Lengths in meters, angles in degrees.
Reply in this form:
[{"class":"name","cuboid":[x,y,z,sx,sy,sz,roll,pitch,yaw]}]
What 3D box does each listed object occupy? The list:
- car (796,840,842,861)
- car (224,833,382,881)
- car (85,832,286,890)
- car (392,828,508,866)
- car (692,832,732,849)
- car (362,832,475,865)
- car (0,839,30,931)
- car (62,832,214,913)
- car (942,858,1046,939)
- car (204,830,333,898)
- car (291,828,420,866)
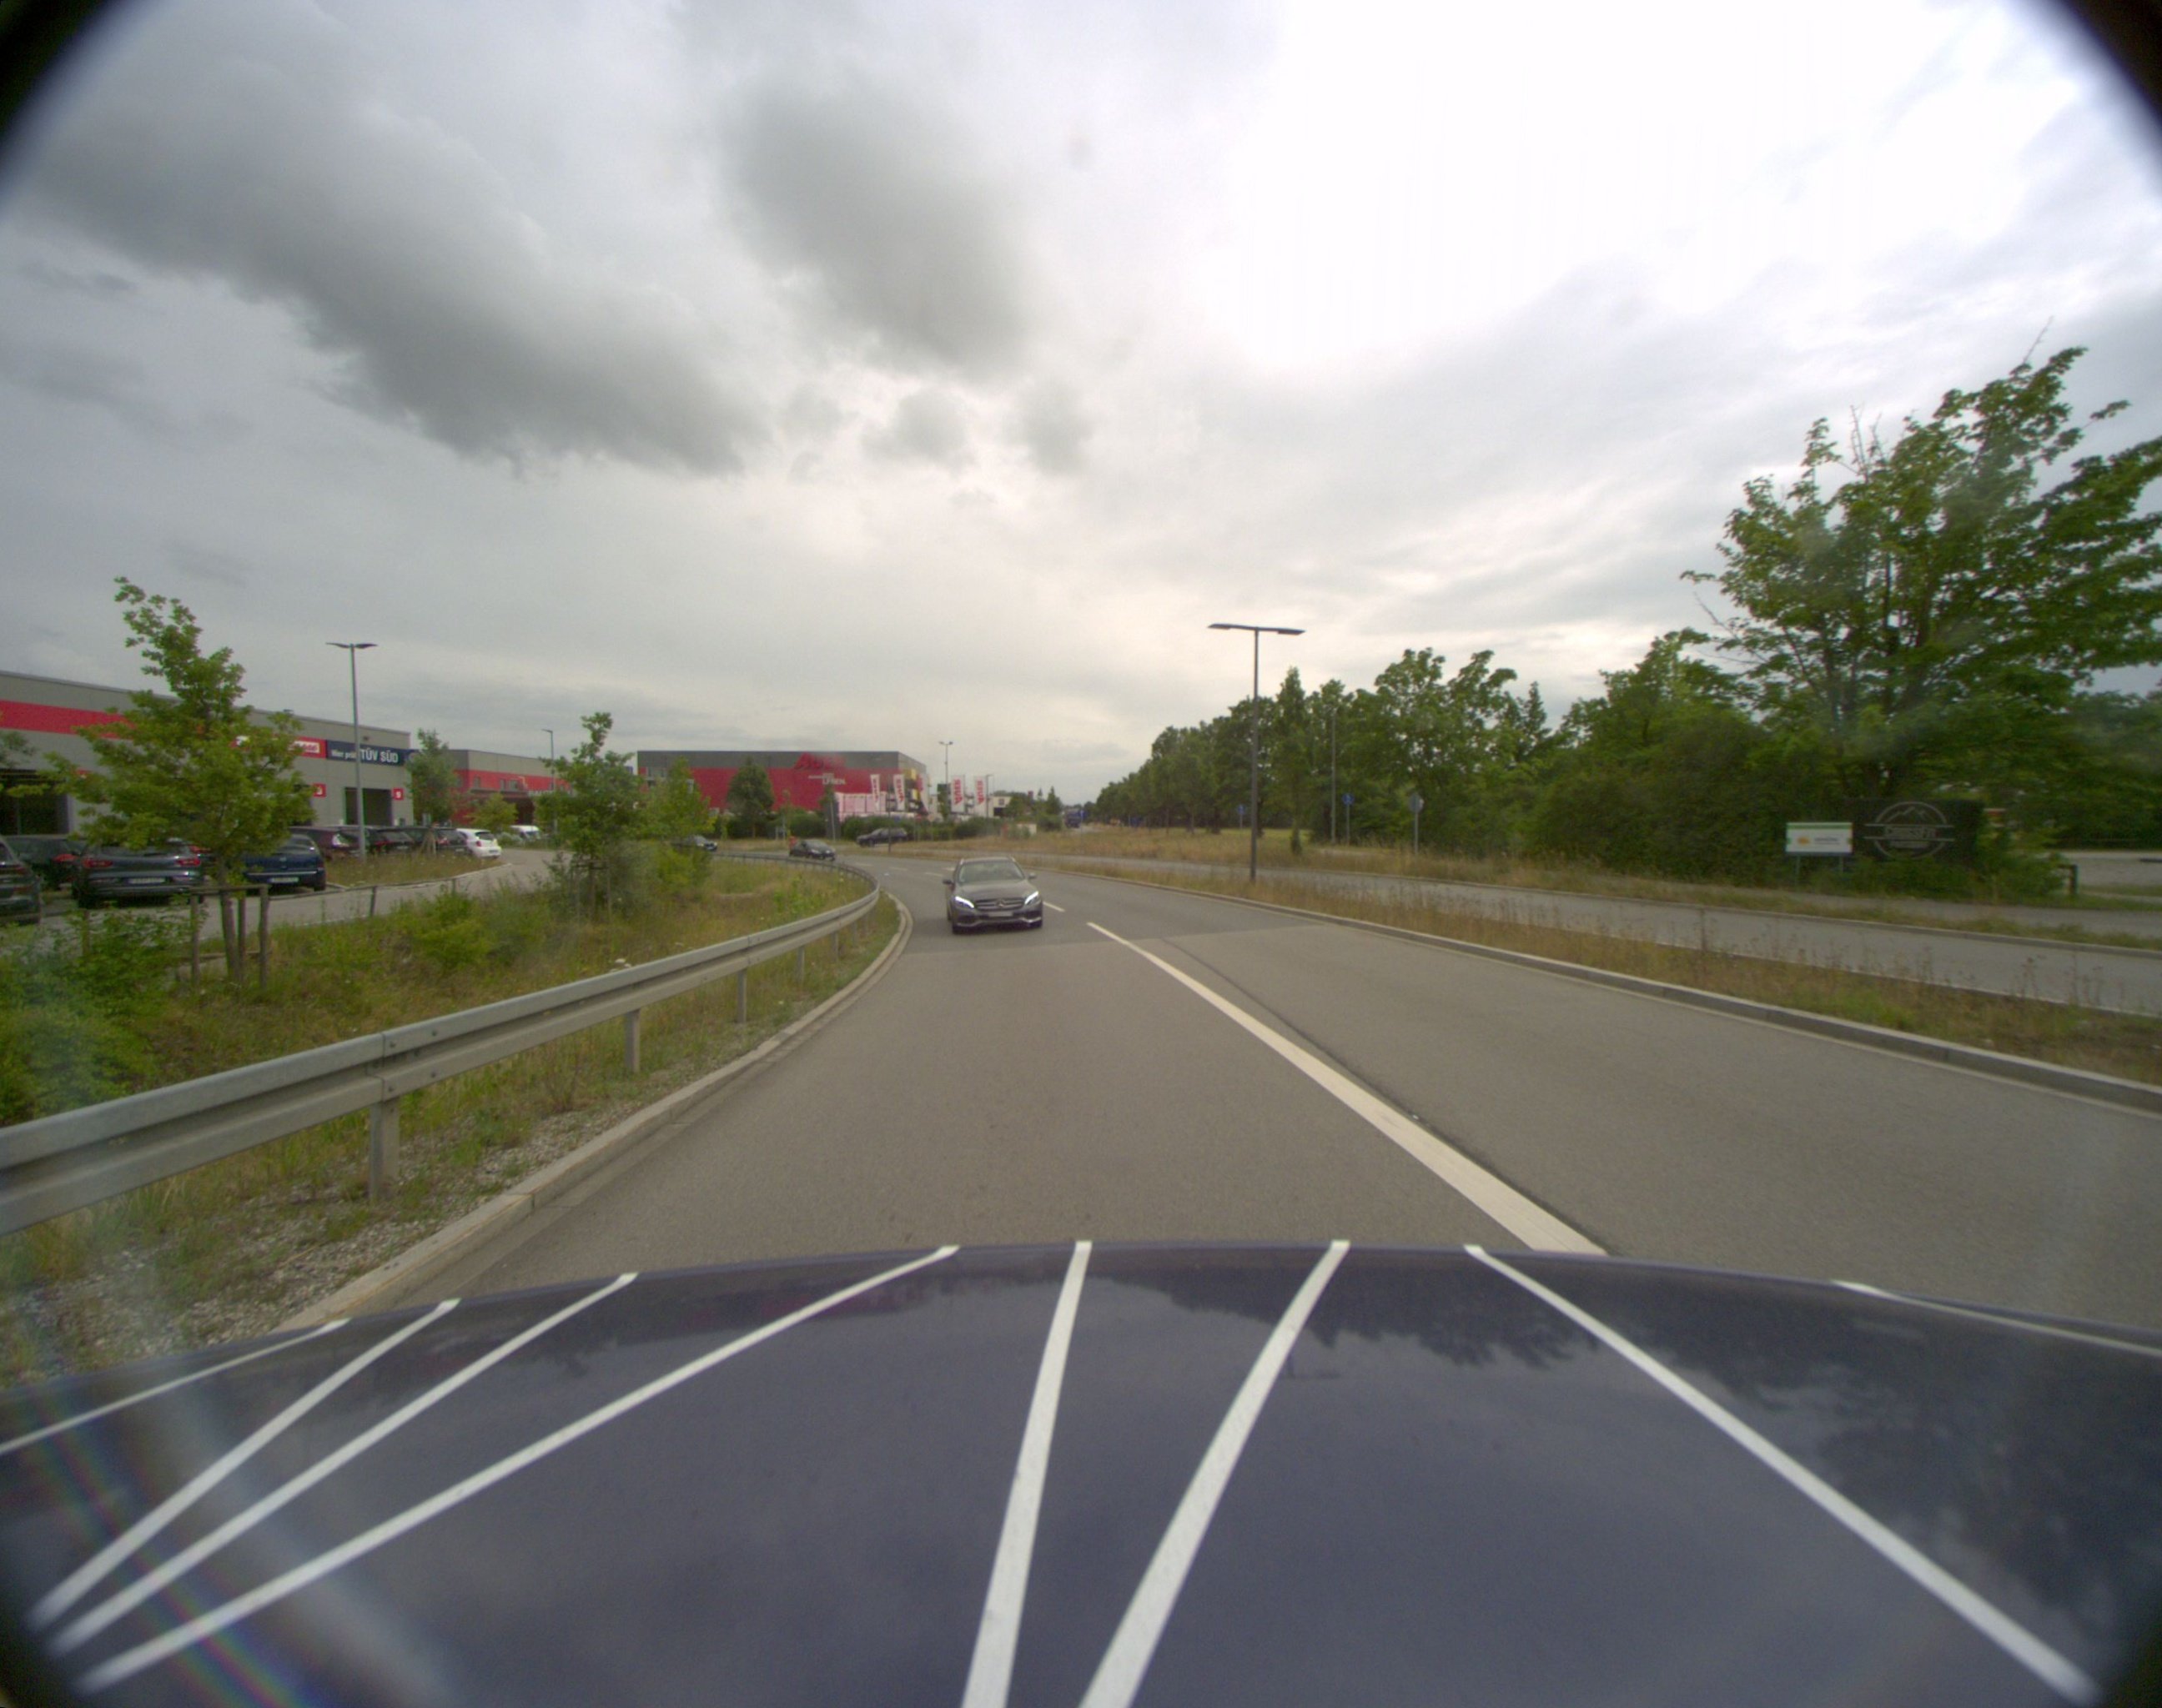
[{"class":"car","cuboid":[-17.698,-0.261,51.201,1.768,1.310,3.948,-4,3,-36]},{"class":"car","cuboid":[-27.953,0.067,27.409,3.699,1.536,1.589,-2,3,-8]},{"class":"car","cuboid":[-26.715,0.182,22.796,3.699,1.536,1.589,-2,3,-8]},{"class":"car","cuboid":[-28.806,-0.340,34.785,3.699,1.536,1.589,-2,3,-8]},{"class":"car","cuboid":[-32.533,-1.227,66.948,1.864,1.404,4.543,-4,4,-42]},{"class":"car","cuboid":[-28.186,-0.261,32.419,3.323,1.316,1.479,-1,2,-8]},{"class":"car","cuboid":[-20.919,0.565,14.013,4.065,1.613,1.740,-1,0,35]},{"class":"car","cuboid":[-22.258,0.361,17.907,4.064,1.613,1.833,3,2,33]},{"class":"car","cuboid":[-2.001,0.841,16.438,1.766,1.412,4.086,-3,1,-12]},{"class":"car","cuboid":[-22.371,0.217,20.890,4.064,1.613,1.740,3,2,33]},{"class":"car","cuboid":[-28.136,-0.296,29.542,3.322,1.316,1.479,-2,2,-8]}]
